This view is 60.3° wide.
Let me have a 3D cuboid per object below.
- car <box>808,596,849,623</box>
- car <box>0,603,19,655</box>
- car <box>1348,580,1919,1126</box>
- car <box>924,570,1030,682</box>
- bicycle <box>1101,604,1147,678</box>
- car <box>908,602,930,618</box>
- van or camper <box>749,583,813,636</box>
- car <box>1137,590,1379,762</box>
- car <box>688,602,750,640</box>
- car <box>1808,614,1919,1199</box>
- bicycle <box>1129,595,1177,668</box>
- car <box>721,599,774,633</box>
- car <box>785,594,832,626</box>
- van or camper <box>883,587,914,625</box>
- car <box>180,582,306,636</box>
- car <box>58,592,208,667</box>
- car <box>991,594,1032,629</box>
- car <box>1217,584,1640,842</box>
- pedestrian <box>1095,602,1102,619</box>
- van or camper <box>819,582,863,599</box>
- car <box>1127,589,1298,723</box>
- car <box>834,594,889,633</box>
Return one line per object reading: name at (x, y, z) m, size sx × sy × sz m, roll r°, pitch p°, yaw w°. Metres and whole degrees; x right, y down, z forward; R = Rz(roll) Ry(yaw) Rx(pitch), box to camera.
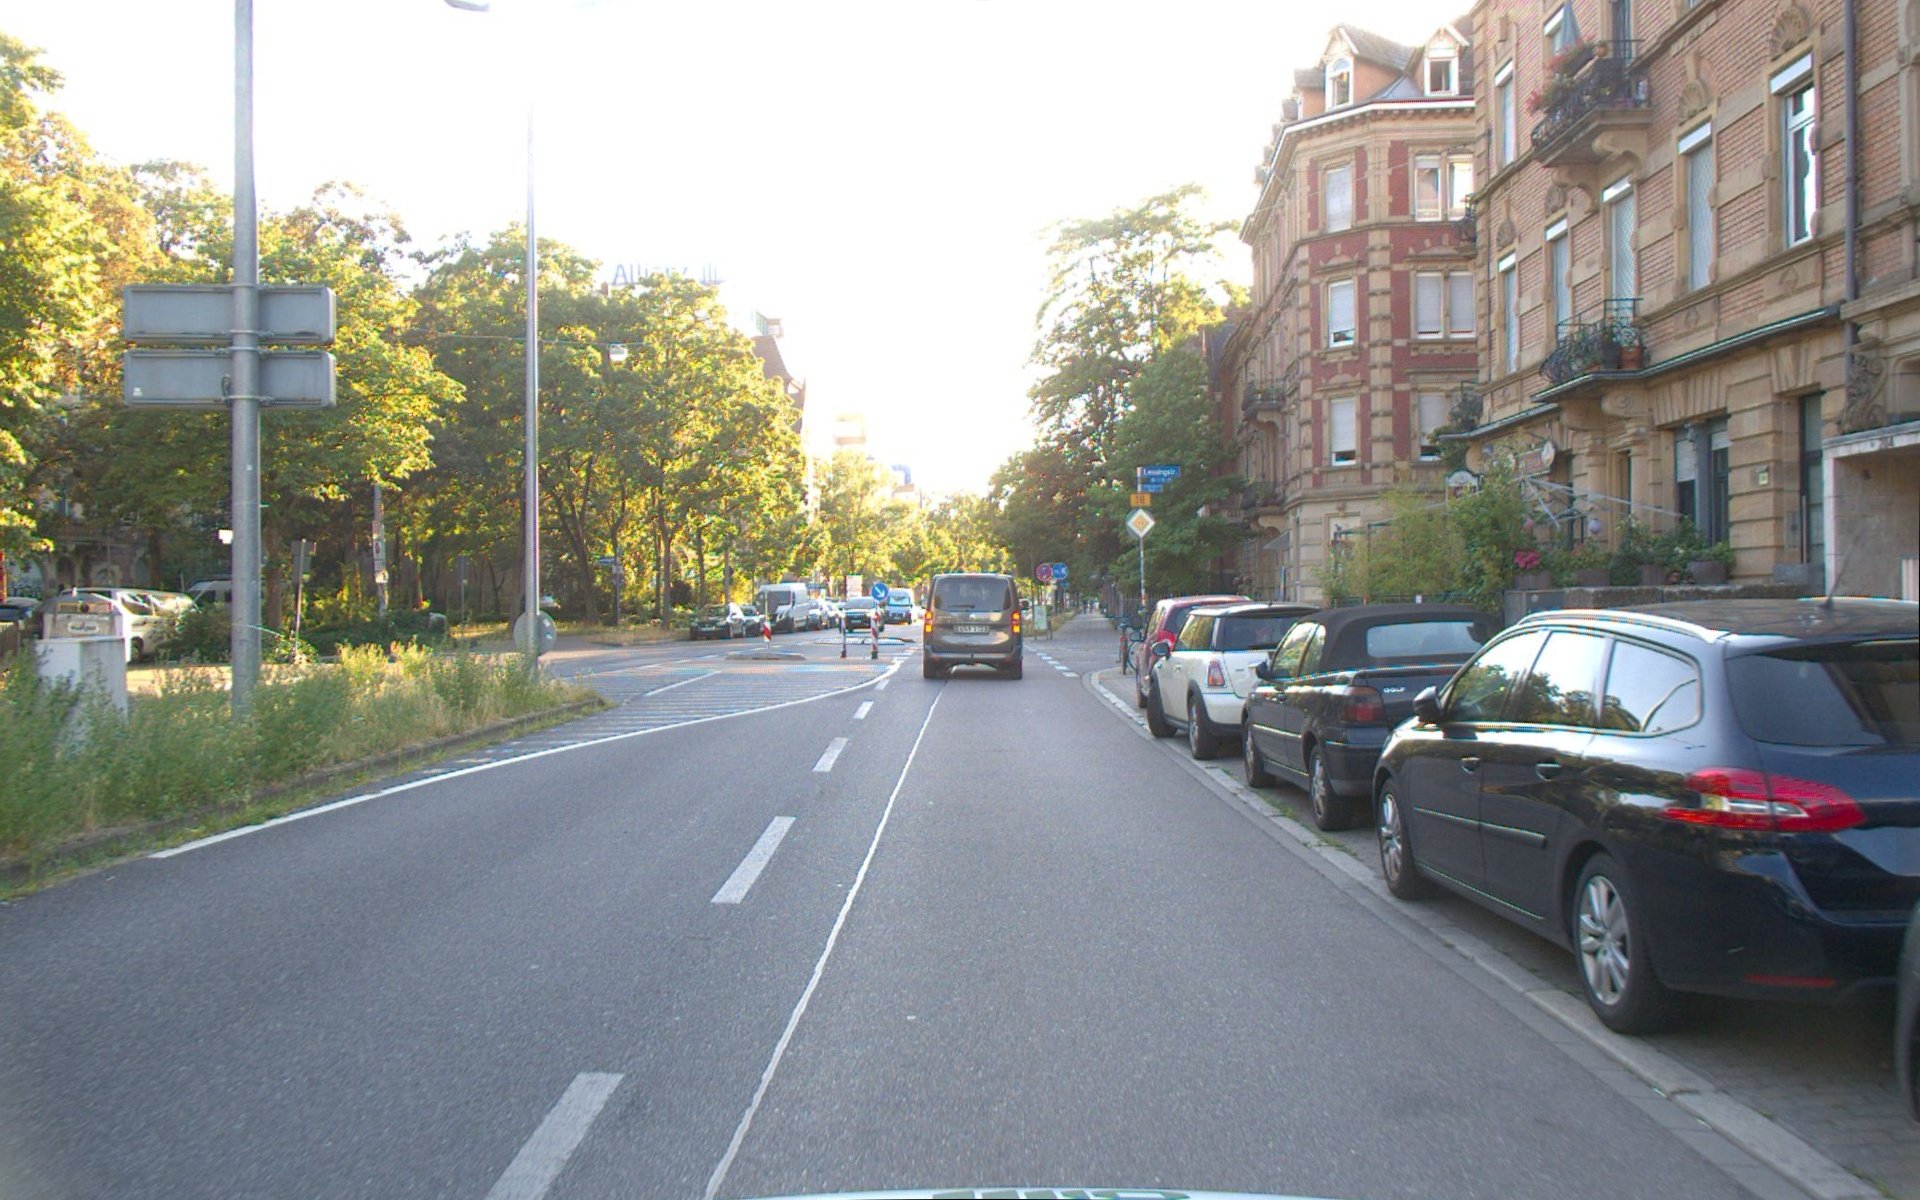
car at (-7.622, 0.537, 96.133) m, size 1.699 × 1.471 × 4.627 m, roll -1°, pitch 0°, yaw 4°
car at (-26.129, 0.766, 42.425) m, size 1.697 × 1.355 × 4.000 m, roll 0°, pitch 0°, yaw 0°
car at (3.176, 0.717, 7.042) m, size 1.849 × 1.473 × 4.463 m, roll -4°, pitch 0°, yaw -1°
car at (0.320, 0.451, 31.385) m, size 1.848 × 1.958 × 3.839 m, roll -1°, pitch 0°, yaw 1°
bicycle at (3.139, 0.782, 31.806) m, size 0.554 × 1.321 × 2.264 m, roll -4°, pitch -1°, yaw 0°
car at (-3.398, 0.799, 137.815) m, size 1.504 × 1.270 × 3.616 m, roll 1°, pitch 0°, yaw 4°
van or camper at (-8.934, 0.448, 83.136) m, size 2.047 × 2.511 × 6.308 m, roll -2°, pitch 0°, yaw 4°
car at (2.915, 0.691, 16.931) m, size 1.643 × 1.451 × 3.675 m, roll -4°, pitch 0°, yaw -2°
car at (-10.074, 0.857, 69.431) m, size 1.589 × 1.533 × 4.546 m, roll -1°, pitch 0°, yaw 5°
car at (3.227, 0.726, 2.589) m, size 1.712 × 1.451 × 3.839 m, roll -4°, pitch 0°, yaw -1°
bicycle at (3.694, 0.611, 31.820) m, size 0.554 × 1.297 × 2.264 m, roll -4°, pitch -1°, yaw 0°
car at (-9.670, 0.694, 75.614) m, size 1.594 × 1.454 × 4.244 m, roll -2°, pitch 0°, yaw 4°
car at (-8.280, 0.544, 90.632) m, size 1.826 × 1.673 × 4.573 m, roll -2°, pitch 0°, yaw 4°
van or camper at (-4.555, 0.426, 123.565) m, size 1.952 × 2.715 × 6.039 m, roll 1°, pitch 0°, yaw 0°
car at (-34.668, 0.405, 80.105) m, size 2.230 × 2.529 × 5.211 m, roll -1°, pitch 0°, yaw 38°
car at (-20.989, 0.711, 42.154) m, size 1.781 × 1.826 × 4.000 m, roll 0°, pitch 0°, yaw 0°
car at (2.647, 0.562, 83.482) m, size 1.952 × 1.662 × 4.002 m, roll -1°, pitch 0°, yaw 3°
car at (3.223, 0.689, 12.356) m, size 1.849 × 1.451 × 4.342 m, roll -4°, pitch 0°, yaw 0°
pedestrian at (13.815, 1.052, 165.152) m, size 0.631 × 1.661 × 0.656 m, roll 1°, pitch 0°, yaw 5°
van or camper at (-18.415, -1.488, 256.013) m, size 6.426 × 2.566 × 2.450 m, roll 1°, pitch 0°, yaw 3°
car at (3.200, 0.662, 21.594) m, size 1.691 × 1.490 × 3.547 m, roll -4°, pitch 0°, yaw 1°
car at (-4.744, 0.653, 80.313) m, size 1.837 × 1.735 × 4.570 m, roll -3°, pitch 0°, yaw 6°
